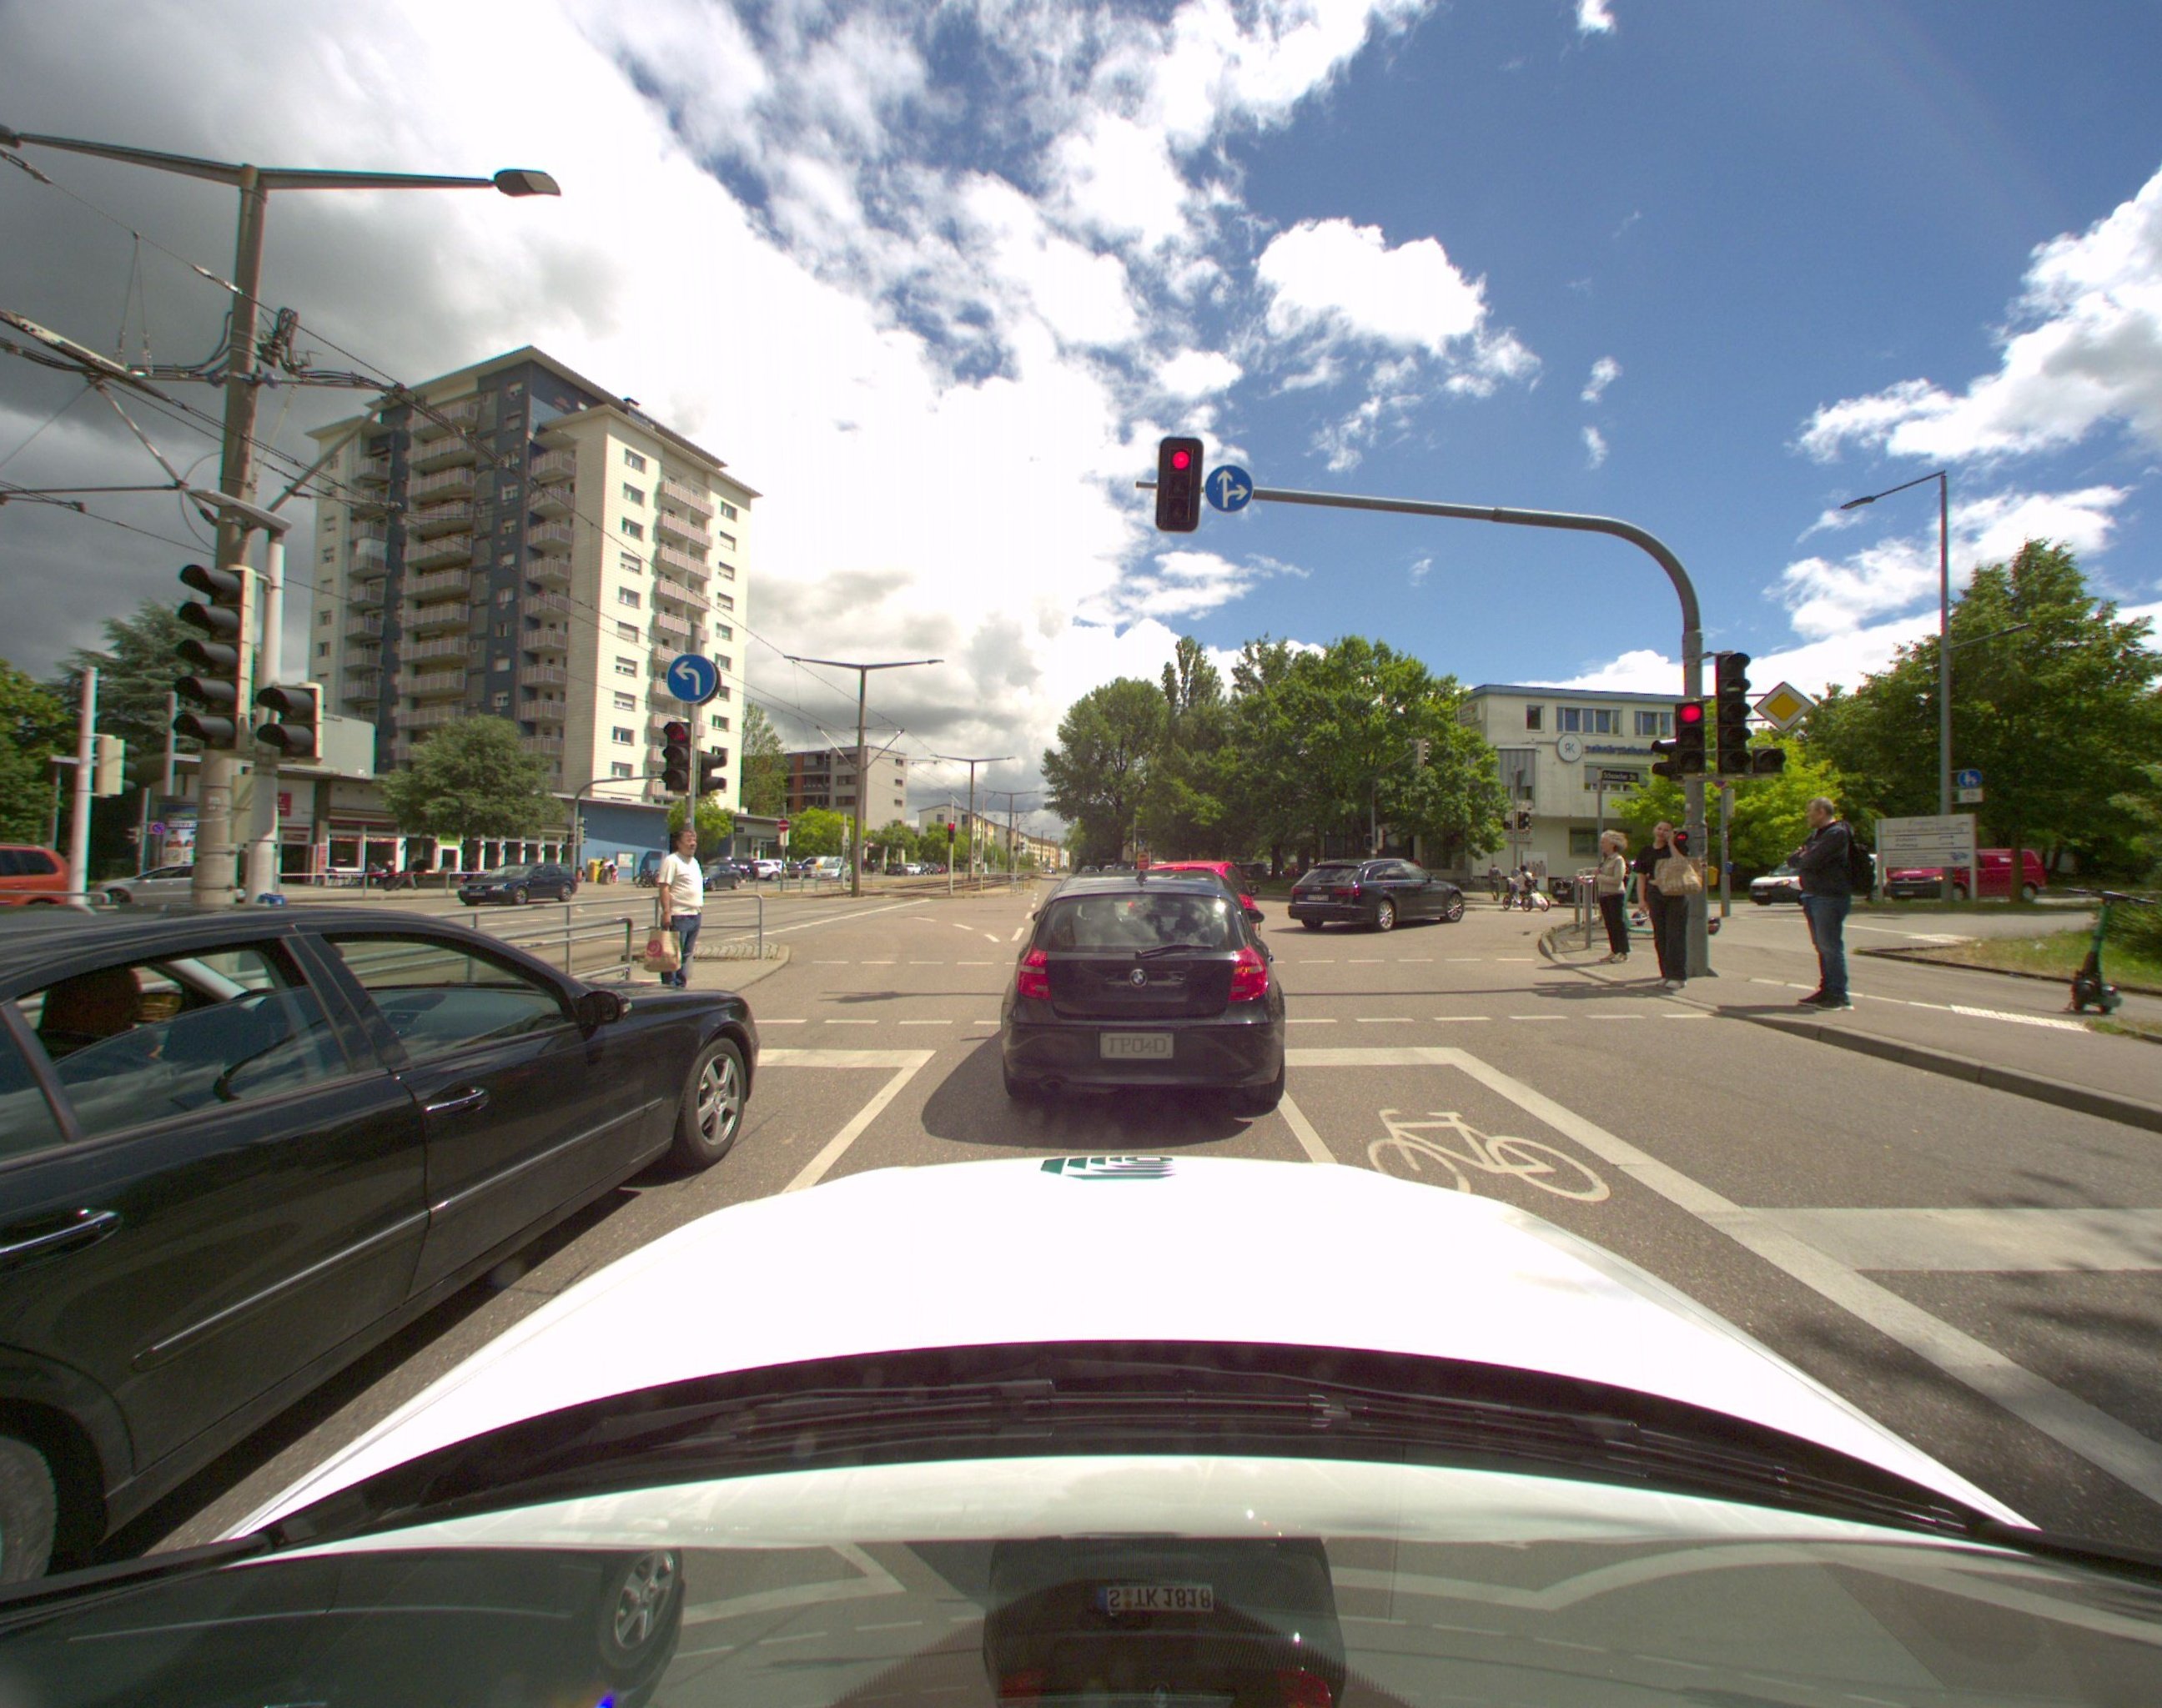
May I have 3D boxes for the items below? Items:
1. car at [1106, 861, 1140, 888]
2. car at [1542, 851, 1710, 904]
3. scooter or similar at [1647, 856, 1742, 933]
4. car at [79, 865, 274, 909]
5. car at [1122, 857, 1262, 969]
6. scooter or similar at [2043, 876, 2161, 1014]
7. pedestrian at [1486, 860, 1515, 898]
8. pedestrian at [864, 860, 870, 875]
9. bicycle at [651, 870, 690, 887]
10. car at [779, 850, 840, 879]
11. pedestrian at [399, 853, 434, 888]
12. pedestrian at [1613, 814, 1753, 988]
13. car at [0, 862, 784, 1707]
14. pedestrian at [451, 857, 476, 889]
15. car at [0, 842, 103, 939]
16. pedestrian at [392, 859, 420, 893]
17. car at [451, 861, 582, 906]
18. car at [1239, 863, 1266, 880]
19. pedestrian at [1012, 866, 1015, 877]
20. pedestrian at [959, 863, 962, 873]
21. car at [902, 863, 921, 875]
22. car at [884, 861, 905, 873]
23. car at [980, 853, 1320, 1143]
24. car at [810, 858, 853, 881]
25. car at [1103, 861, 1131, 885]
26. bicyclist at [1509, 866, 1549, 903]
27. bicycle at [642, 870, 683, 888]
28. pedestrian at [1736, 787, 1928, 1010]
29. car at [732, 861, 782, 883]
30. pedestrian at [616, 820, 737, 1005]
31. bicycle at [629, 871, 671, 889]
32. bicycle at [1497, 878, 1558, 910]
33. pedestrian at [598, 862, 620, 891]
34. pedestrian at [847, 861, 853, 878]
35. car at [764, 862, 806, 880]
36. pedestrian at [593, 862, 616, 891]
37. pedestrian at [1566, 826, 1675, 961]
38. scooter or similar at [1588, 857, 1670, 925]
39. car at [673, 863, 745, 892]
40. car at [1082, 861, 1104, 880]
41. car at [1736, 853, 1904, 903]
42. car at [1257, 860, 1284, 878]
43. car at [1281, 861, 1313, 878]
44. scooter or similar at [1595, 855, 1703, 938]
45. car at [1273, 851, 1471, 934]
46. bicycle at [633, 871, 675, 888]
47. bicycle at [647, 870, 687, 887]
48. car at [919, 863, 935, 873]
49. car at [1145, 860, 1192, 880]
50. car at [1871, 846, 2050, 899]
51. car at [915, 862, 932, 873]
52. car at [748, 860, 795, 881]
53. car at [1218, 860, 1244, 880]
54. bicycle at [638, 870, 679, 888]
[{"bbox_3d":[2.777,1.347,54.291,2.144,1.684,4.001,0,-1,2],"label":"car"},{"bbox_3d":[18.620,0.781,27.947,4.551,1.717,1.996,0,0,-5],"label":"car"},{"bbox_3d":[10.370,0.680,13.781,1.225,1.240,0.555,2,0,-7],"label":"scooter or similar"},{"bbox_3d":[-30.211,1.075,27.370,4.007,1.398,1.684,0,-1,-26],"label":"car"},{"bbox_3d":[1.789,0.769,12.332,1.529,1.441,3.211,0,0,18],"label":"car"},{"bbox_3d":[10.628,0.929,8.469,1.247,1.275,0.709,6,-1,-38],"label":"scooter or similar"},{"bbox_3d":[18.224,1.083,35.405,0.901,1.643,0.771,0,0,0],"label":"pedestrian"},{"bbox_3d":[-24.569,1.501,93.484,0.547,1.716,0.404,0,-1,-8],"label":"pedestrian"},{"bbox_3d":[-23.295,1.394,46.208,1.943,0.935,0.494,0,-1,-5],"label":"bicycle"},{"bbox_3d":[-24.326,0.910,72.720,2.848,2.478,6.642,0,0,-41],"label":"car"},{"bbox_3d":[-36.583,0.905,44.843,0.861,1.917,1.215,0,0,2],"label":"pedestrian"},{"bbox_3d":[6.463,0.475,8.775,0.933,1.765,0.770,-1,0,-10],"label":"pedestrian"},{"bbox_3d":[-2.672,0.769,2.468,1.721,1.461,4.546,0,0,2],"label":"car"},{"bbox_3d":[-31.212,0.966,41.191,0.767,1.615,0.695,0,-1,-12],"label":"pedestrian"},{"bbox_3d":[-19.147,0.634,12.899,1.989,1.635,4.456,-2,0,-3],"label":"car"},{"bbox_3d":[-32.266,1.049,38.941,0.766,1.615,0.696,0,-1,-8],"label":"pedestrian"},{"bbox_3d":[-19.405,0.986,28.234,1.624,1.414,4.252,-1,-1,-1],"label":"car"},{"bbox_3d":[16.298,1.628,77.468,1.626,1.573,4.030,0,0,-1],"label":"car"},{"bbox_3d":[-10.835,2.809,130.924,0.477,1.637,0.454,0,-1,1],"label":"pedestrian"},{"bbox_3d":[-20.604,2.361,139.591,0.451,1.637,0.480,0,-1,-1],"label":"pedestrian"},{"bbox_3d":[-21.116,1.837,101.694,1.758,1.395,3.993,0,0,-5],"label":"car"},{"bbox_3d":[-21.559,1.479,94.197,1.758,1.395,3.993,0,0,-5],"label":"car"},{"bbox_3d":[0.422,0.739,6.193,1.746,1.487,4.002,0,0,2],"label":"car"},{"bbox_3d":[-19.050,1.183,62.358,1.929,1.693,3.874,0,0,2],"label":"car"},{"bbox_3d":[2.716,1.439,61.745,1.986,1.684,4.001,0,-1,2],"label":"car"},{"bbox_3d":[12.567,0.857,22.845,0.788,1.022,0.636,0,-1,1],"label":"bicyclist"},{"bbox_3d":[-23.230,1.385,45.223,1.943,0.935,0.494,0,-1,-5],"label":"bicycle"},{"bbox_3d":[6.921,0.385,7.561,0.963,1.942,0.896,0,0,-3],"label":"pedestrian"},{"bbox_3d":[-24.375,1.351,61.203,4.165,1.570,1.973,0,0,45],"label":"car"},{"bbox_3d":[-4.105,0.570,8.323,0.866,1.808,0.741,0,0,-2],"label":"pedestrian"},{"bbox_3d":[-23.159,1.372,43.774,1.943,0.935,0.494,0,-1,-5],"label":"bicycle"},{"bbox_3d":[12.580,1.116,23.020,0.788,0.819,1.808,0,0,2],"label":"bicycle"},{"bbox_3d":[-28.027,1.323,48.360,0.947,1.659,1.092,0,-1,-19],"label":"pedestrian"},{"bbox_3d":[-22.971,1.546,81.029,0.547,1.716,0.667,0,-1,-8],"label":"pedestrian"},{"bbox_3d":[-24.594,1.354,67.562,1.800,1.420,4.166,0,0,-43],"label":"car"},{"bbox_3d":[-27.625,1.311,47.259,0.947,1.659,1.092,0,-1,-19],"label":"pedestrian"},{"bbox_3d":[7.032,0.500,10.680,0.945,1.674,0.874,-1,-1,17],"label":"pedestrian"},{"bbox_3d":[9.890,0.661,14.695,1.360,1.156,0.540,1,0,-23],"label":"scooter or similar"},{"bbox_3d":[-19.045,1.180,41.939,1.630,1.399,4.492,0,-1,-1],"label":"car"},{"bbox_3d":[1.191,1.554,77.237,1.986,1.684,4.002,0,0,2],"label":"car"},{"bbox_3d":[26.277,0.824,29.041,4.555,1.717,1.995,0,0,-8],"label":"car"},{"bbox_3d":[18.262,1.422,78.659,1.626,1.595,3.998,0,0,-1],"label":"car"},{"bbox_3d":[20.950,1.509,79.019,1.728,1.595,3.992,0,0,-5],"label":"car"},{"bbox_3d":[8.981,0.653,12.910,1.336,1.277,0.463,0,1,8],"label":"scooter or similar"},{"bbox_3d":[6.306,0.738,17.430,4.544,1.554,1.976,0,-1,-40],"label":"car"},{"bbox_3d":[-23.185,1.376,44.241,1.943,0.935,0.494,0,-1,-5],"label":"bicycle"},{"bbox_3d":[-23.246,1.389,45.728,1.943,0.935,0.494,0,-1,-5],"label":"bicycle"},{"bbox_3d":[-21.300,1.944,112.855,1.758,1.395,3.993,0,0,-5],"label":"car"},{"bbox_3d":[8.135,1.496,75.681,4.001,1.823,1.766,0,0,-21],"label":"car"},{"bbox_3d":[31.895,0.670,29.601,4.800,1.864,1.995,0,-2,-8],"label":"car"},{"bbox_3d":[-20.964,1.803,108.279,1.758,1.395,3.993,0,0,-5],"label":"car"},{"bbox_3d":[-24.528,1.278,64.454,4.165,1.538,1.973,0,0,45],"label":"car"},{"bbox_3d":[14.053,1.511,76.535,1.626,1.811,4.030,0,0,-1],"label":"car"},{"bbox_3d":[-23.208,1.381,44.747,1.943,0.935,0.494,0,-1,-5],"label":"bicycle"}]
